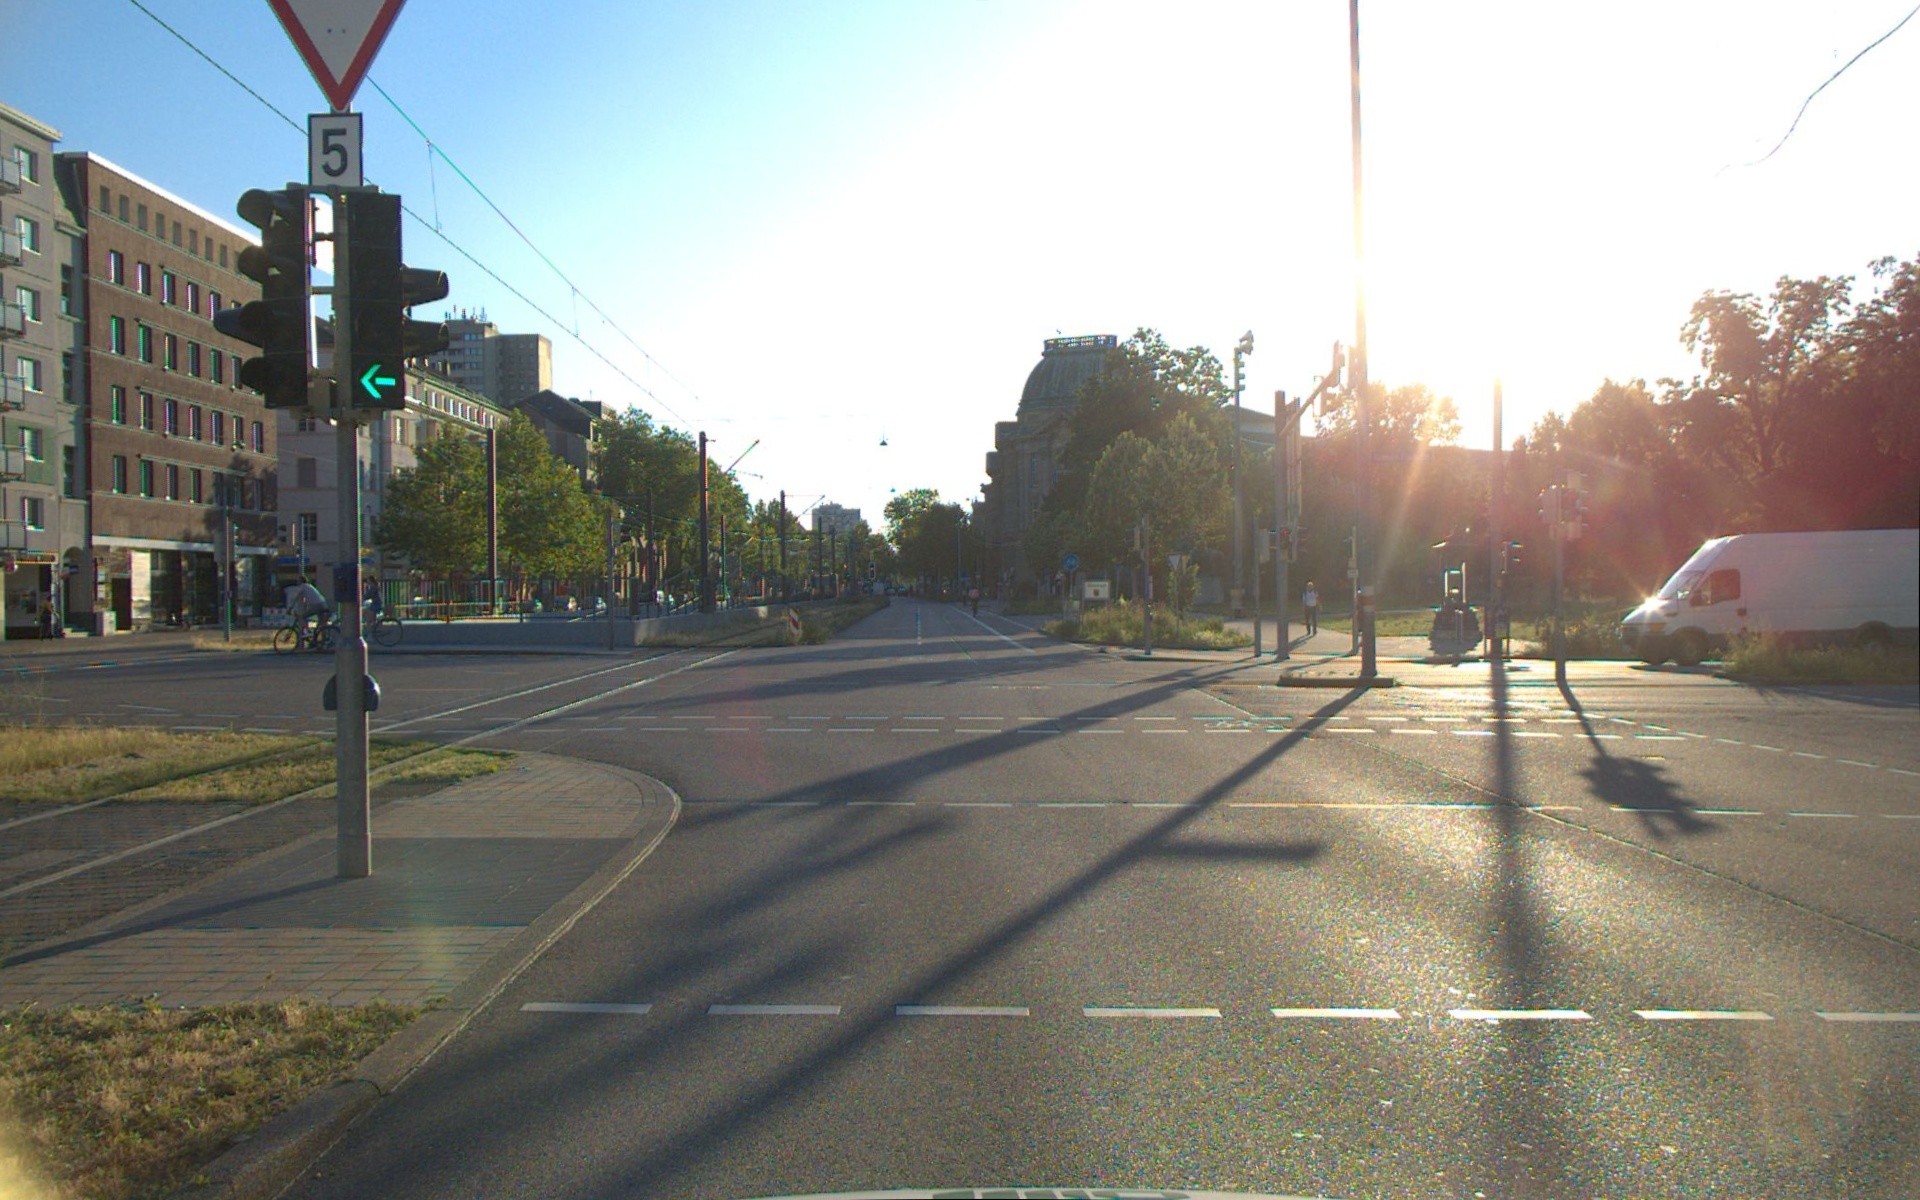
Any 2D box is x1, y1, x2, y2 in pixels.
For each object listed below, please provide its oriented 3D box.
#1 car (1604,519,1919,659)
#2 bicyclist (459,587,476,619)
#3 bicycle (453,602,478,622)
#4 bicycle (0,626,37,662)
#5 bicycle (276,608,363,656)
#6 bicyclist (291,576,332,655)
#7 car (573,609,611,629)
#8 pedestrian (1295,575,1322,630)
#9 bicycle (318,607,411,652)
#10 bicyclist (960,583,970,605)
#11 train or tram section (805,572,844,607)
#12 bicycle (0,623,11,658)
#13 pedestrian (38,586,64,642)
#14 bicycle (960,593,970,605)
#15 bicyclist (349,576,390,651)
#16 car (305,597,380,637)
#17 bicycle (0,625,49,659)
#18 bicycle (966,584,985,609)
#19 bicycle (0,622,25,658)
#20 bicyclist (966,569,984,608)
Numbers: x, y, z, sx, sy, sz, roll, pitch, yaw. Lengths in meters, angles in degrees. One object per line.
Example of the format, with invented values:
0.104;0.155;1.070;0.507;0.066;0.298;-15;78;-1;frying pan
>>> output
17.777;-0.248;35.763;6.866;2.877;2.093;-1;0;1;car
-31.853;0.168;106.892;0.780;2.049;0.924;-1;0;1;bicyclist
-31.869;0.749;106.652;0.796;1.222;2.413;-1;0;2;bicycle
-32.866;1.515;57.031;1.655;1.190;0.748;-1;0;1;bicycle
-15.264;0.745;39.453;1.869;1.094;0.630;-1;0;-14;bicycle
-15.438;0.372;39.395;0.779;1.850;0.644;-1;0;-13;bicyclist
-27.839;1.406;125.135;1.781;1.445;4.002;-1;0;3;car
11.675;0.089;55.432;0.815;1.835;0.811;-1;0;14;pedestrian
-14.939;0.739;41.505;2.124;1.102;0.537;0;-1;-10;bicycle
0.447;-0.544;154.046;0.907;2.049;0.850;0;0;-1;bicyclist
-15.665;-1.189;191.631;4.301;3.917;11.398;-1;0;-5;train or tram section
-32.891;1.361;55.492;1.655;1.173;0.705;-1;0;1;bicycle
-36.721;0.555;66.800;0.589;2.216;0.792;-1;0;-1;pedestrian
0.462;-0.101;153.956;0.905;1.131;2.332;0;0;-1;bicycle
-14.826;0.337;41.529;0.860;1.850;0.536;-1;0;-11;bicyclist
-27.198;0.733;72.967;1.654;1.646;4.001;-2;0;2;car
-32.838;1.469;57.763;1.655;1.164;0.697;-1;0;1;bicycle
0.918;-0.211;98.720;1.075;1.423;2.831;-1;0;-1;bicycle
-32.862;1.350;56.255;1.655;1.199;0.748;-1;0;1;bicycle
0.909;-0.674;98.700;1.060;2.316;0.986;0;0;-1;bicyclist
